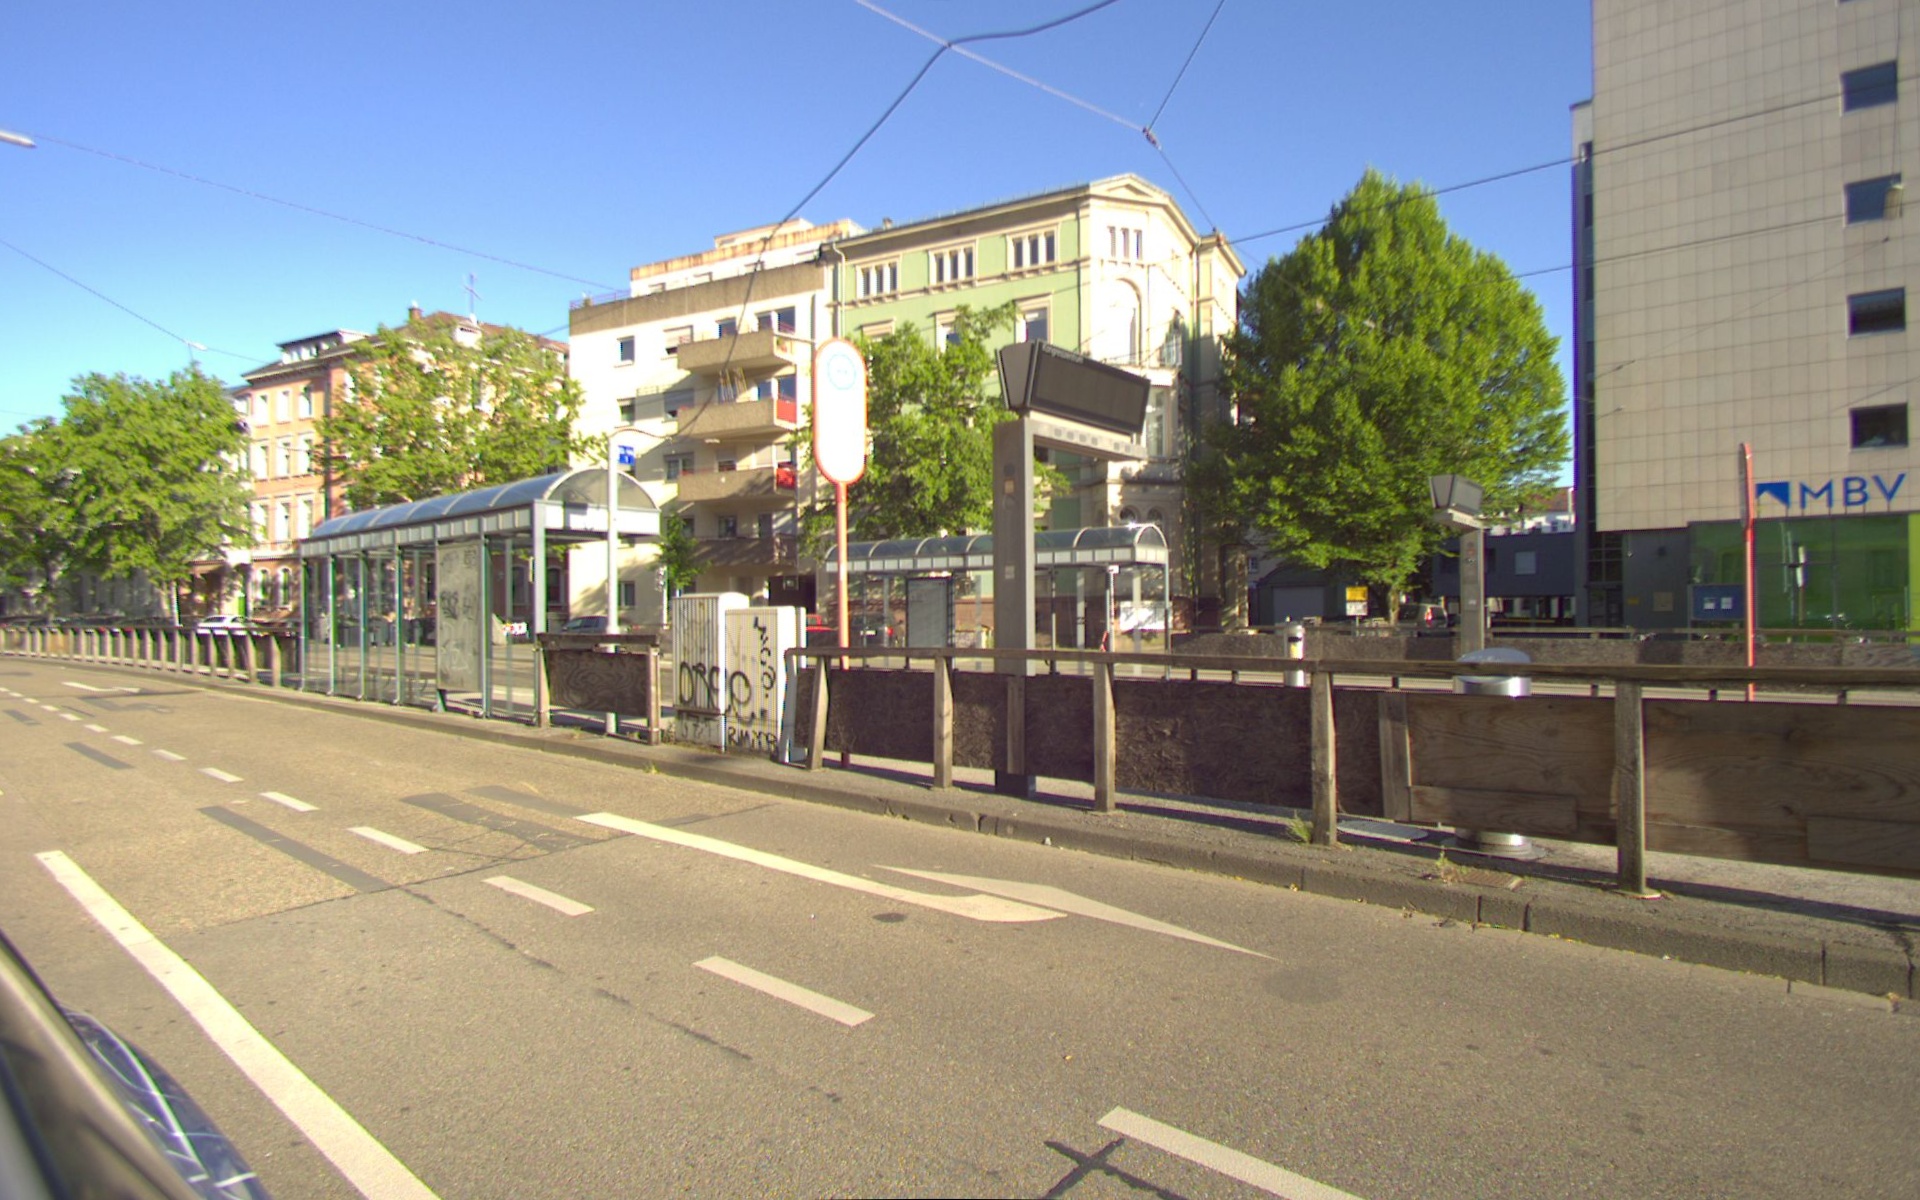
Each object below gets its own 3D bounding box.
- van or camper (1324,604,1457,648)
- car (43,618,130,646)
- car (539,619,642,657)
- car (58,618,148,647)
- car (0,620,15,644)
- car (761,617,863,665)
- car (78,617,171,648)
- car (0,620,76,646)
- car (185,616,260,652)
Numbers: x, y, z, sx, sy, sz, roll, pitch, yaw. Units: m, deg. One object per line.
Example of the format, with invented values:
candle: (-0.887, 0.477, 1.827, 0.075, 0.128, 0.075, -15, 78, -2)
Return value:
van or camper: (15.507, 0.906, 36.542, 3.998, 1.417, 1.943, 2, 0, 41)
car: (-54.300, 1.961, 62.952, 2.001, 1.697, 3.942, -2, -2, 44)
car: (-14.001, 1.434, 38.389, 3.498, 1.406, 1.602, -1, -2, 22)
car: (-51.293, 1.915, 60.623, 2.001, 1.697, 3.942, -2, -2, 44)
car: (-68.099, 2.221, 70.108, 2.001, 1.604, 3.812, -2, -2, 44)
car: (-5.000, 1.384, 34.685, 1.763, 1.547, 3.763, -1, -2, 23)
car: (-47.975, 1.851, 58.151, 2.001, 1.697, 3.942, -2, -2, 44)
car: (-59.609, 2.087, 65.263, 3.811, 1.604, 2.001, 1, -2, -45)
car: (-39.520, 1.777, 54.369, 1.966, 1.736, 4.012, 0, 0, -15)
